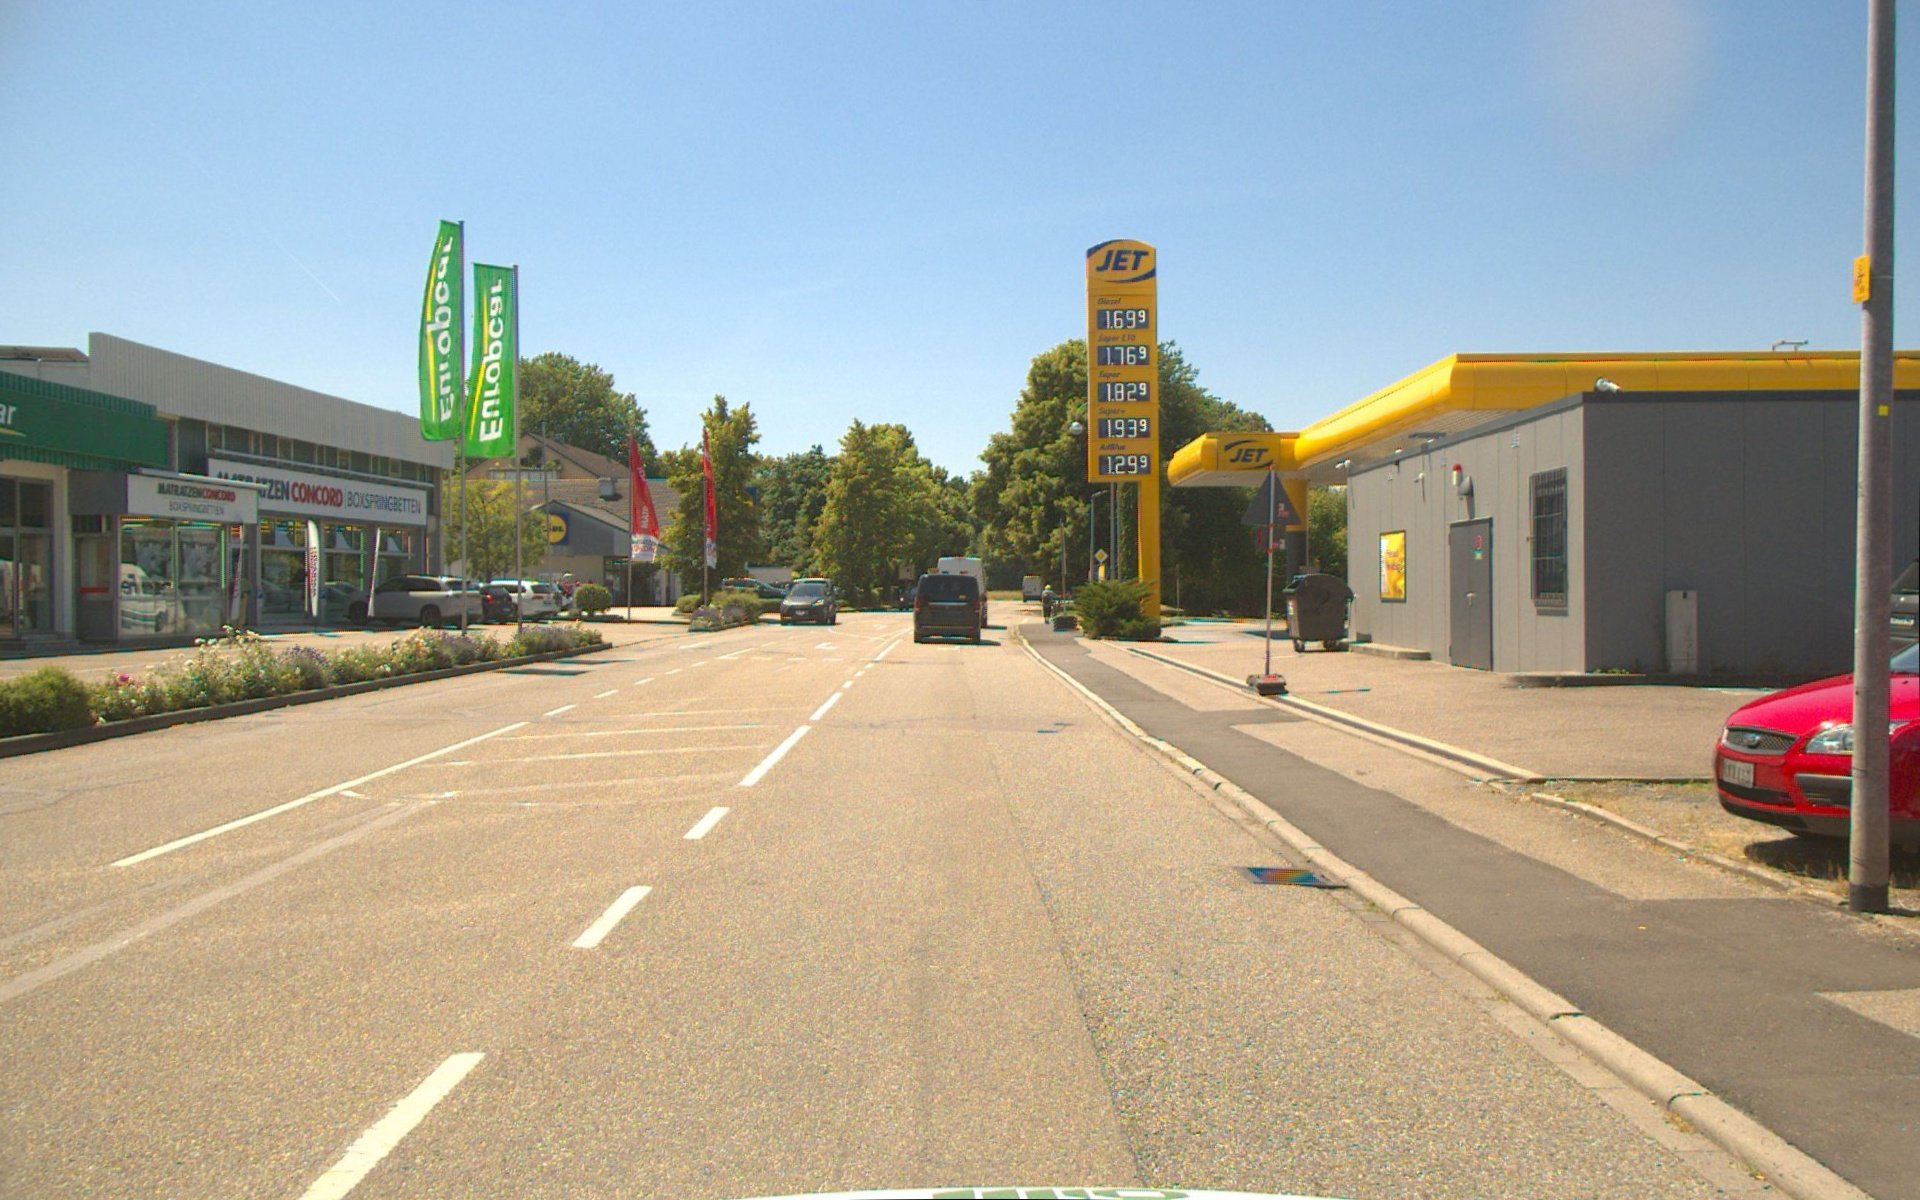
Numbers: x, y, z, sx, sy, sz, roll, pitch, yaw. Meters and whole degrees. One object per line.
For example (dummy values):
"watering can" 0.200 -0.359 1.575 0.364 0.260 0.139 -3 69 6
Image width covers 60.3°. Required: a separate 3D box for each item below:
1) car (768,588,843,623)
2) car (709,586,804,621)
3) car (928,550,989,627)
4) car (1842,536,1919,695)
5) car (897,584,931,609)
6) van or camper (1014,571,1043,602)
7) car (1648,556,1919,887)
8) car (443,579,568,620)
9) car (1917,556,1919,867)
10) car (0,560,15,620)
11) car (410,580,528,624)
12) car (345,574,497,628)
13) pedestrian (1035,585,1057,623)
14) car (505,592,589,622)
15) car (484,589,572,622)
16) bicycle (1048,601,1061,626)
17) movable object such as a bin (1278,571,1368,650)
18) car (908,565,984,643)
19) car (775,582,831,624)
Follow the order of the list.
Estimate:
"car" -9.212 0.329 98.822 4.266 2.015 1.905 1 -1 1
"car" -10.881 0.186 88.647 4.607 1.793 2.100 1 -1 8
"car" -0.004 -0.401 63.291 2.035 2.750 4.667 2 0 2
"car" 12.213 0.178 18.278 3.904 1.686 1.948 0 0 2
"car" -2.873 -0.203 103.632 1.892 1.425 4.689 1 -1 1
"van or camper" 6.889 -1.371 167.319 2.578 2.980 5.206 2 -1 0
"car" 6.171 0.543 8.881 4.139 1.561 1.957 -1 0 -2
"car" -17.142 -0.012 62.414 4.095 1.472 1.981 1 0 16
"car" 5.981 0.590 6.408 3.612 1.594 1.707 -1 0 -5
"car" -43.747 -0.488 71.456 2.233 2.673 5.901 1 -1 2
"car" -17.682 0.054 59.614 3.550 1.500 2.001 1 0 18
"car" -17.779 0.009 54.625 4.435 1.693 2.001 1 0 18
"pedestrian" 3.299 0.167 63.469 0.752 1.446 0.868 1 0 8
"car" -23.132 0.409 92.753 4.224 1.557 1.827 1 -1 -1
"car" -23.591 0.319 90.396 4.224 1.684 2.114 1 -1 -1
"bicycle" 3.624 0.517 63.529 0.370 0.928 1.599 1 0 8
"movable object such as a bin" 7.042 0.198 32.216 1.405 1.463 1.467 -1 0 0
"car" -0.331 0.125 46.385 1.952 1.987 5.005 2 0 1
"car" -5.986 0.102 63.550 1.726 1.553 4.137 -1 0 0
